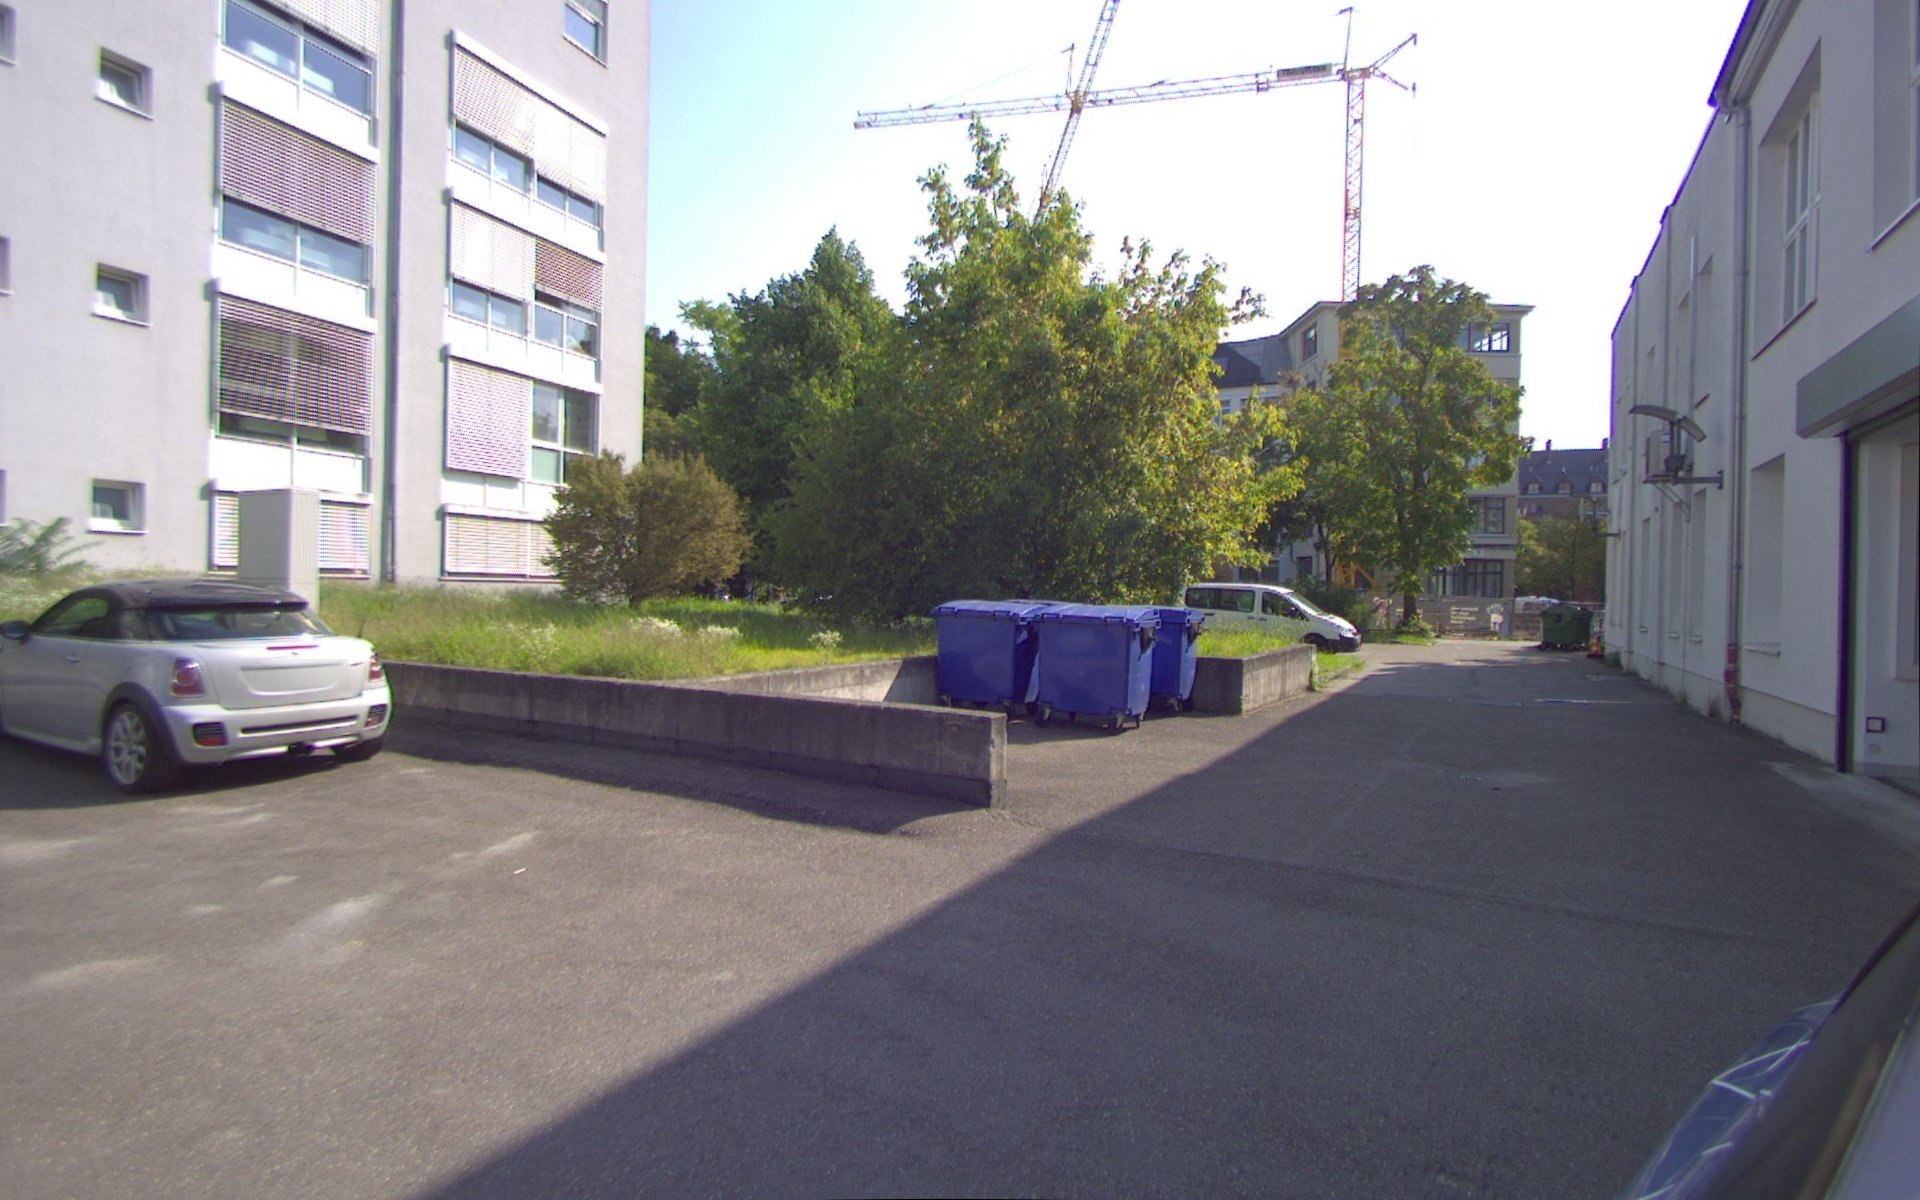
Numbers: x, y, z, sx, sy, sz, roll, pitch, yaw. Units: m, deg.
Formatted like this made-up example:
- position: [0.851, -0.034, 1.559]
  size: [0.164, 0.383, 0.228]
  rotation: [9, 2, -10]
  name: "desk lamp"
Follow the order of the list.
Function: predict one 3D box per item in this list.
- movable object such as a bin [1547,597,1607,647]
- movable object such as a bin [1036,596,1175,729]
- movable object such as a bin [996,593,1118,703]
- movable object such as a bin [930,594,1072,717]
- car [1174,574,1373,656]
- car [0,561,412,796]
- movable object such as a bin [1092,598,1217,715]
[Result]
- position: [19.172, 0.665, 31.494]
  size: [1.512, 1.484, 1.262]
  rotation: [1, 0, 30]
  name: "movable object such as a bin"
- position: [1.654, 0.650, 11.374]
  size: [1.203, 1.368, 1.263]
  rotation: [1, 0, 27]
  name: "movable object such as a bin"
- position: [1.298, 0.595, 13.408]
  size: [1.190, 1.344, 1.262]
  rotation: [1, 0, 30]
  name: "movable object such as a bin"
- position: [0.510, 0.612, 12.074]
  size: [1.247, 1.344, 1.262]
  rotation: [1, 0, 30]
  name: "movable object such as a bin"
- position: [8.311, 0.336, 26.990]
  size: [4.756, 1.956, 1.887]
  rotation: [2, 0, 32]
  name: "car"
- position: [-6.221, 0.461, 7.936]
  size: [3.546, 1.455, 1.644]
  rotation: [2, 0, 26]
  name: "car"
- position: [2.450, 0.658, 12.681]
  size: [1.190, 1.344, 1.262]
  rotation: [1, 0, 30]
  name: "movable object such as a bin"
